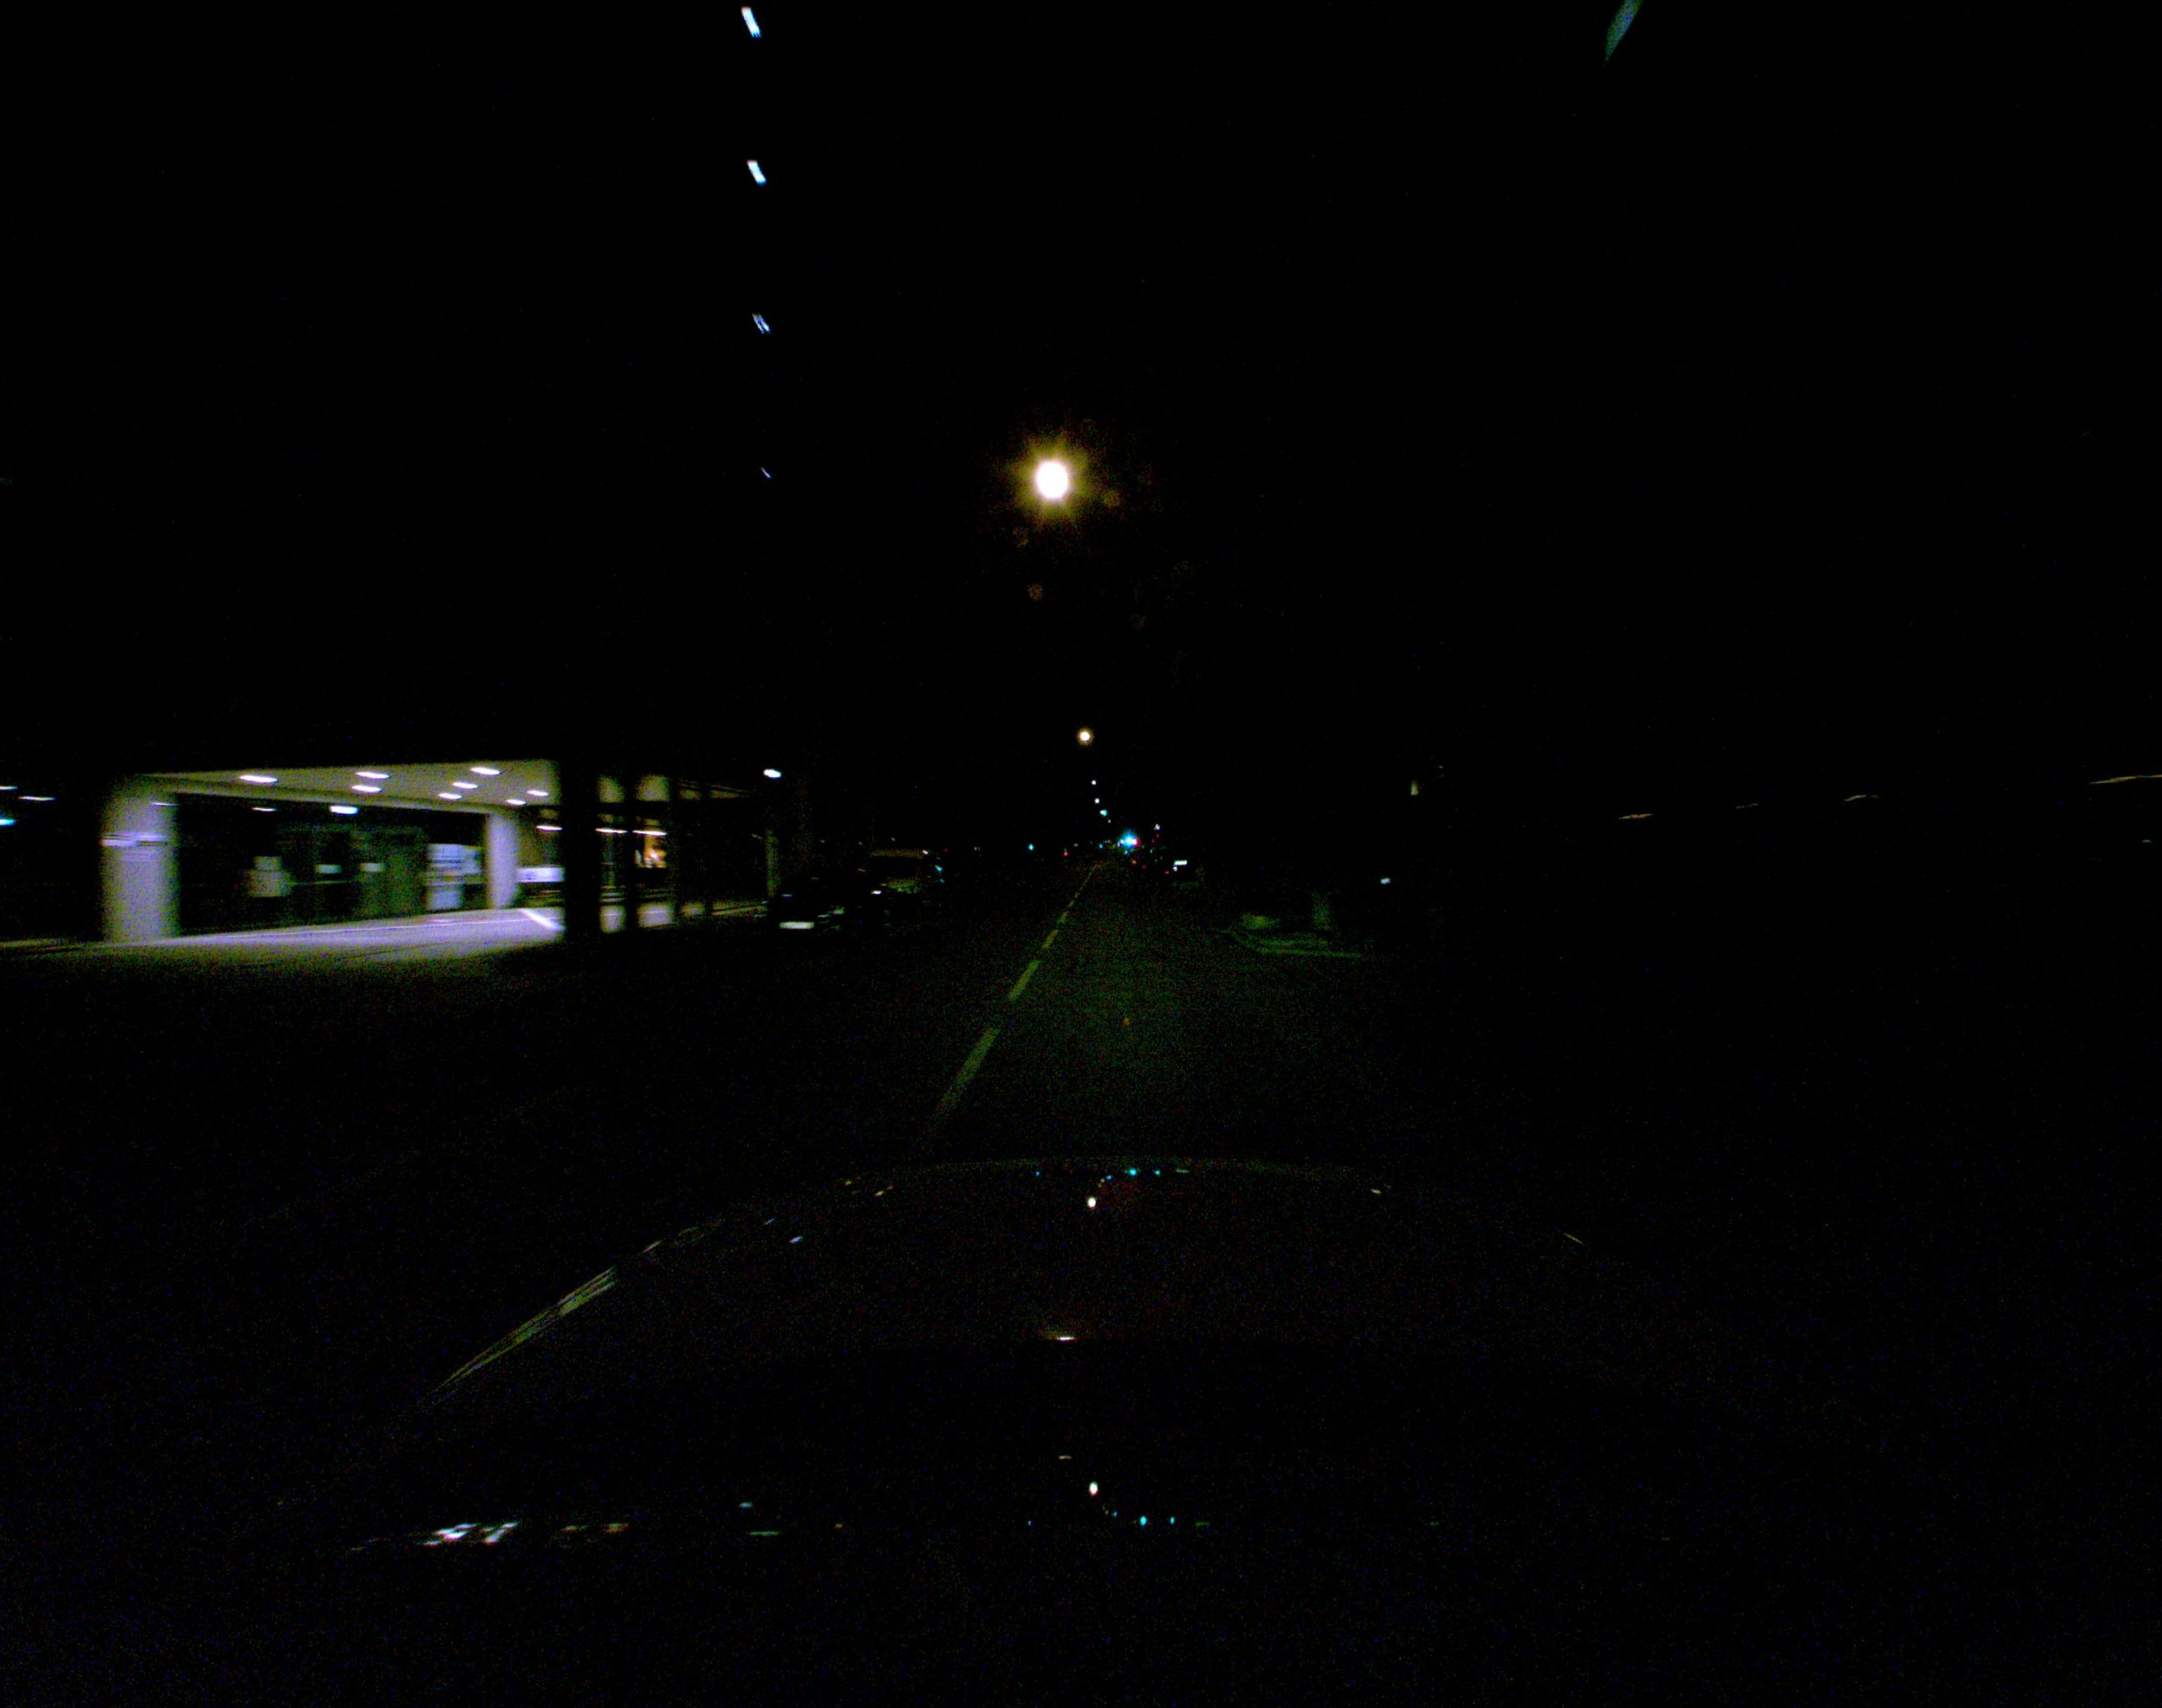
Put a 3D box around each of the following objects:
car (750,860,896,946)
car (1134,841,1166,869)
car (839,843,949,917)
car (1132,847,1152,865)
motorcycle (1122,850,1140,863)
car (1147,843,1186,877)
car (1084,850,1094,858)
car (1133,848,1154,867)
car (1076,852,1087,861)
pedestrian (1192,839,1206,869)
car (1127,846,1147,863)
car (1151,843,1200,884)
[{"bbox_3d":[-5.022,0.880,16.402,1.695,1.433,3.828,1,0,0],"label":"car"},{"bbox_3d":[4.789,0.059,57.123,1.766,1.806,4.276,-3,0,-1],"label":"car"},{"bbox_3d":[-4.956,0.625,22.223,1.815,1.811,4.213,1,0,3],"label":"car"},{"bbox_3d":[5.511,0.188,73.891,1.585,1.534,4.139,-3,0,1],"label":"car"},{"bbox_3d":[4.767,0.230,77.272,0.630,1.270,2.077,-1,0,36],"label":"motorcycle"},{"bbox_3d":[4.431,0.286,42.635,1.845,1.604,4.213,-2,1,4],"label":"car"},{"bbox_3d":[1.596,-0.013,159.558,1.734,1.415,3.754,-1,1,2],"label":"car"},{"bbox_3d":[4.963,0.249,65.212,1.514,1.396,3.987,-2,0,3],"label":"car"},{"bbox_3d":[0.052,0.427,144.875,1.734,1.416,3.754,-1,0,2],"label":"car"},{"bbox_3d":[7.029,-0.001,48.518,0.703,1.721,0.822,-3,0,2],"label":"pedestrian"},{"bbox_3d":[5.548,0.011,81.189,1.846,1.590,4.301,-1,0,1],"label":"car"},{"bbox_3d":[4.220,0.393,36.929,1.846,1.654,4.211,-3,0,2],"label":"car"}]
